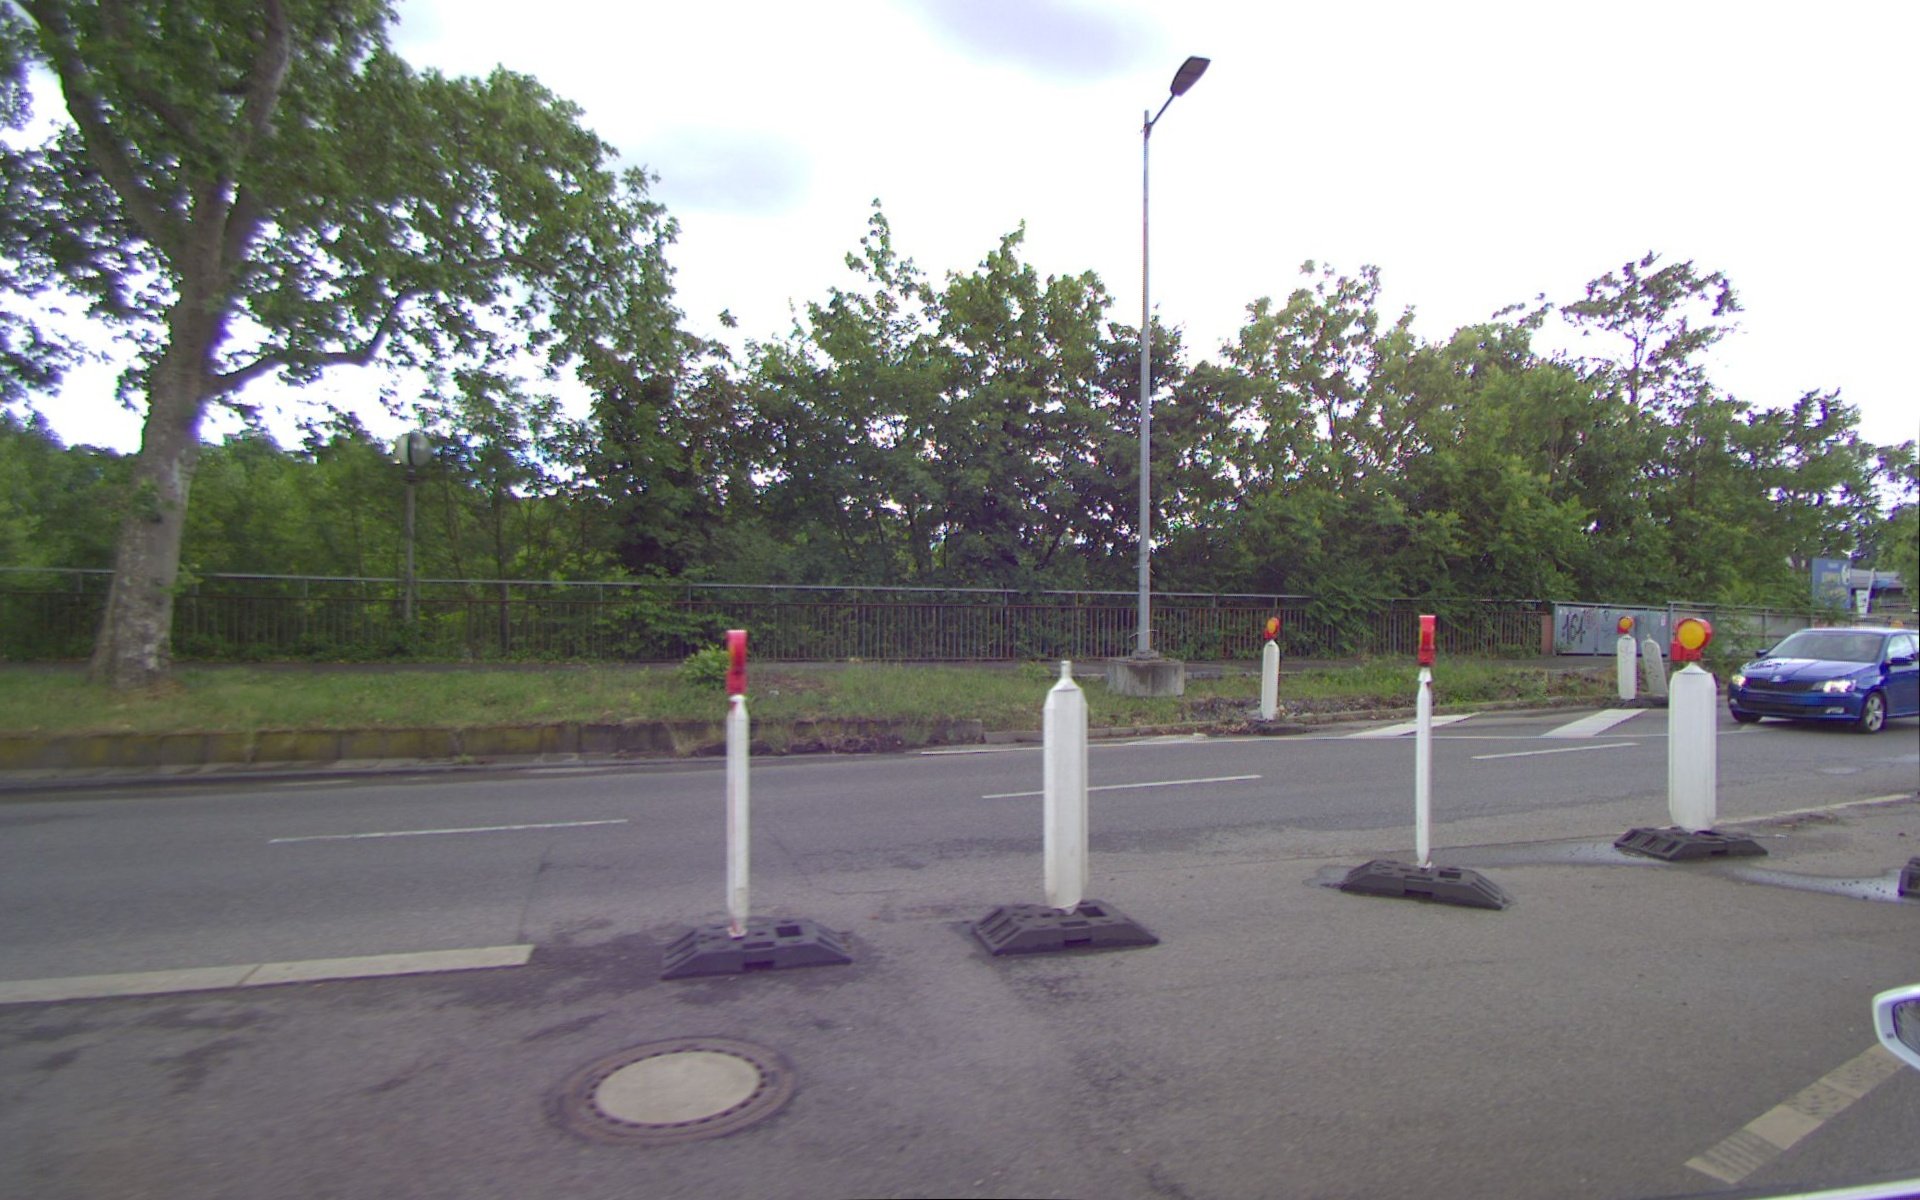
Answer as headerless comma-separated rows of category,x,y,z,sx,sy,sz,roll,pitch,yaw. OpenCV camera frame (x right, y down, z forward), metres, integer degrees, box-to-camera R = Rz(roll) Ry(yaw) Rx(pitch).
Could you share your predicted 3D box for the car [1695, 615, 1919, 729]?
car,13.009,0.981,14.919,3.858,1.481,1.691,0,0,-24
